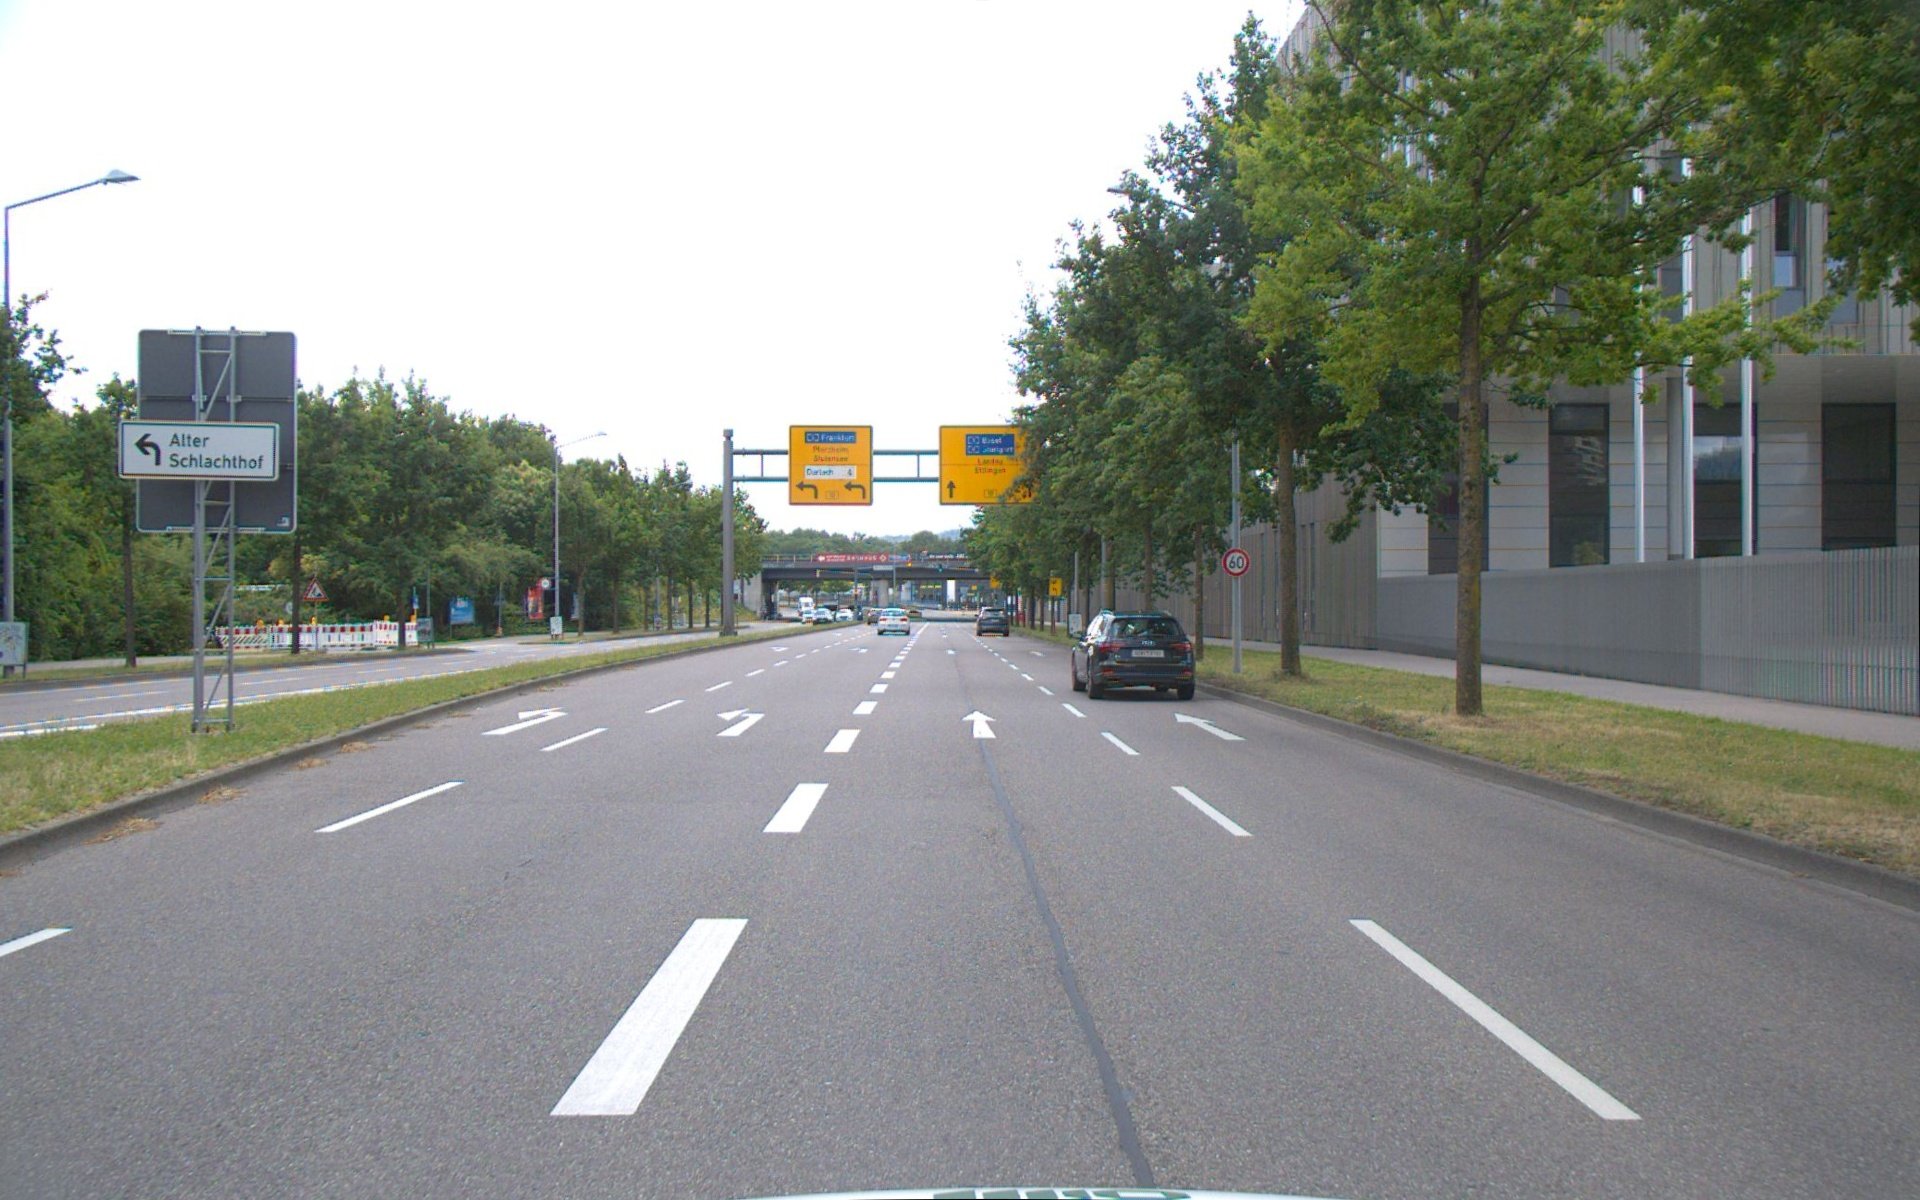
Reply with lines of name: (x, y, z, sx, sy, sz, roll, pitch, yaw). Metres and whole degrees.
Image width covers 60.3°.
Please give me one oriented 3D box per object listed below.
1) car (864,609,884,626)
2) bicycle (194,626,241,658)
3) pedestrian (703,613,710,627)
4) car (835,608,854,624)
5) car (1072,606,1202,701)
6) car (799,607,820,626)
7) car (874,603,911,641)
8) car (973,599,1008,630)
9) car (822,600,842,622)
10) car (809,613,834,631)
car: (-7.740, 1.593, 148.495, 1.739, 1.489, 3.997, 1, -1, -3)
bicycle: (-25.825, 1.450, 57.519, 0.876, 1.078, 2.329, 0, -1, -40)
pedestrian: (-24.851, 1.967, 162.230, 0.547, 1.425, 0.563, 2, -2, -2)
car: (-13.131, 1.847, 188.145, 1.953, 1.747, 3.999, 2, -2, -1)
car: (2.971, 0.874, 28.470, 1.650, 1.489, 3.998, 1, -1, -2)
car: (-15.634, 1.710, 171.801, 1.953, 1.814, 3.998, 2, -2, -2)
car: (-3.762, 1.220, 91.994, 1.954, 2.049, 3.997, 1, -1, -3)
car: (1.780, 0.823, 95.353, 1.952, 1.654, 4.310, -1, 0, 1)
car: (-16.106, 1.381, 208.668, 1.952, 2.687, 5.237, 1, -2, 2)
car: (-12.853, 1.995, 153.923, 1.952, 1.646, 4.000, 0, -1, 0)
